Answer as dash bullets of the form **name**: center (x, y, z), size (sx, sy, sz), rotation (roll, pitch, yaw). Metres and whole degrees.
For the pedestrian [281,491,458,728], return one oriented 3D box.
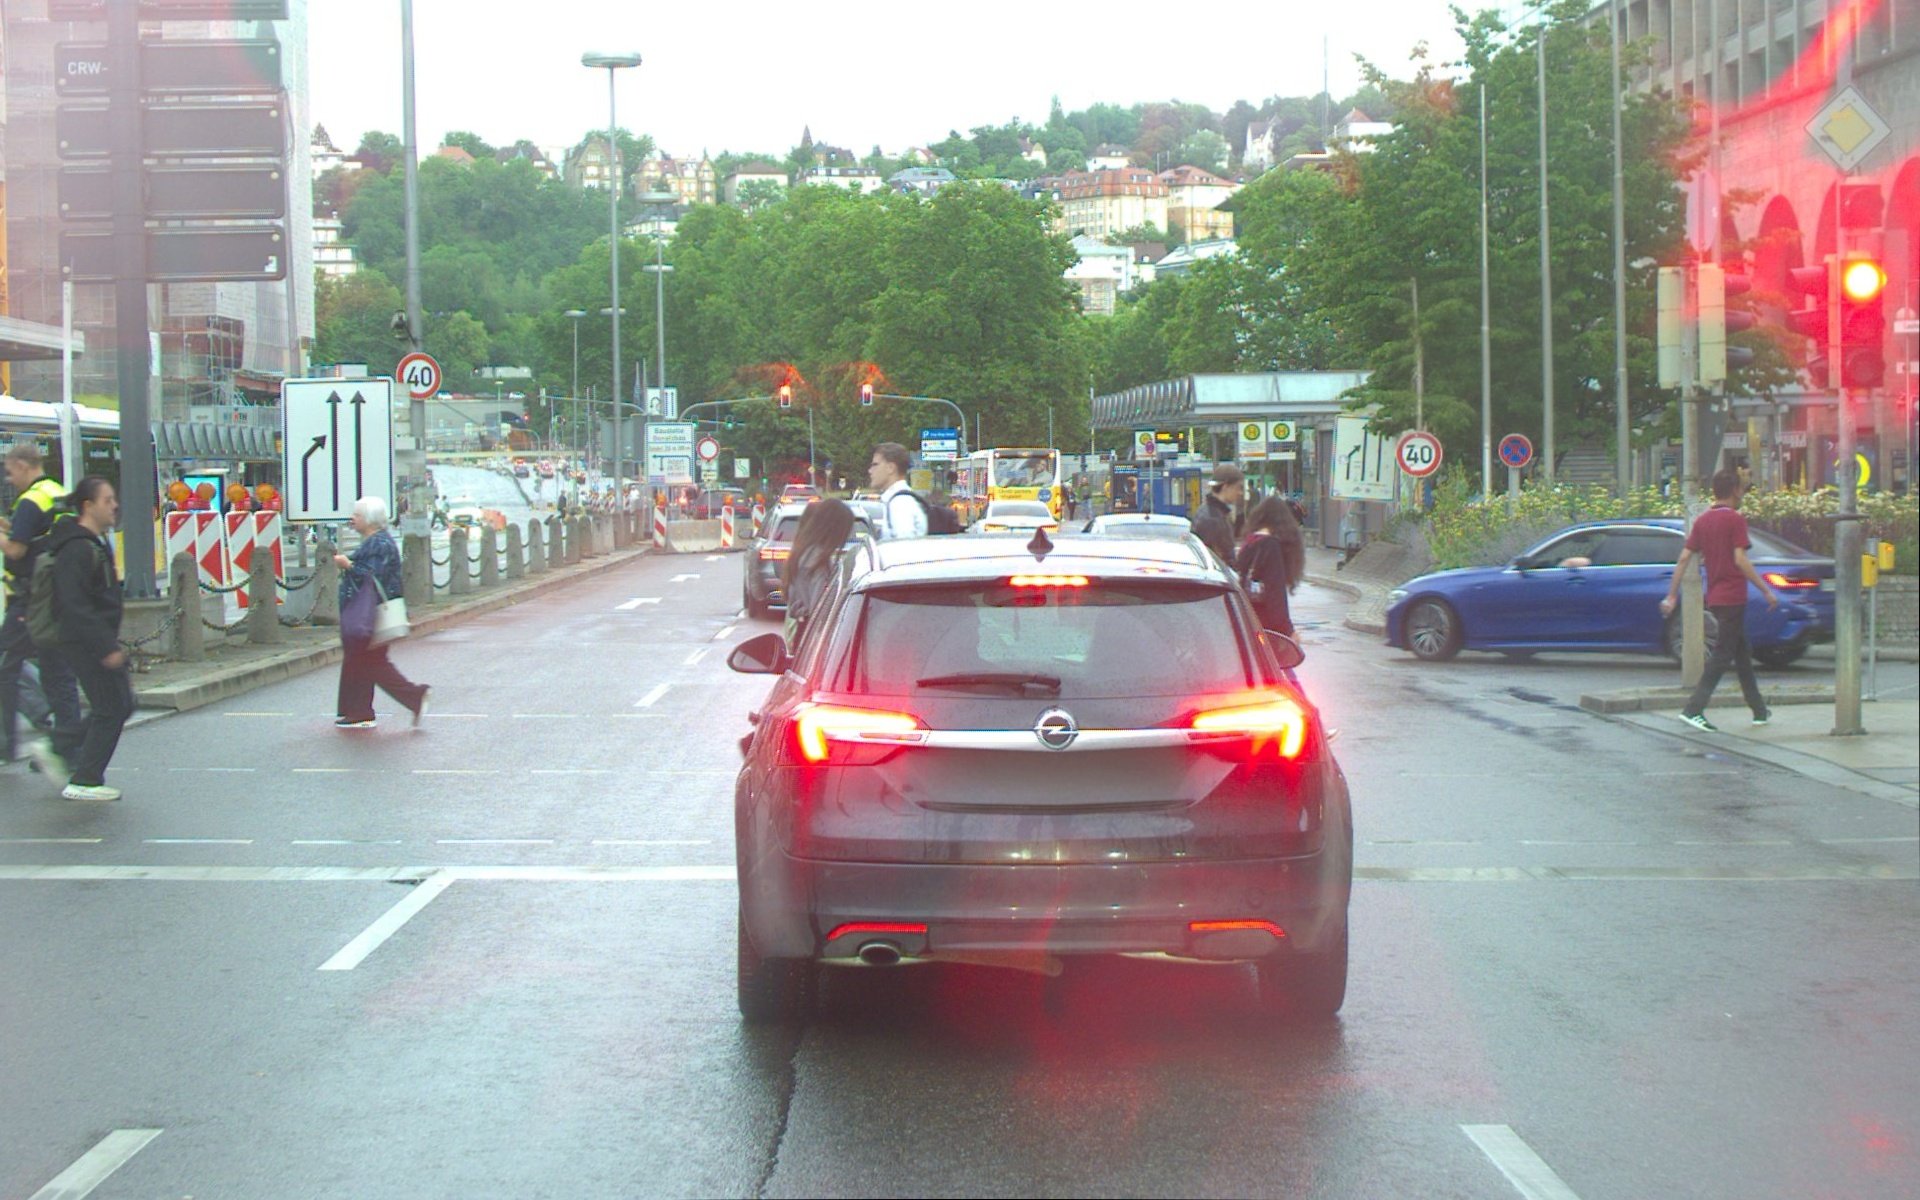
- **pedestrian**: center (-3.980, 0.051, 23.183), size (0.873, 1.555, 0.786), rotation (0, 1, -44)

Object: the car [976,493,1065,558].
- **car**: center (1.311, -1.635, 75.693), size (1.845, 1.393, 3.564), rotation (1, 1, -1)

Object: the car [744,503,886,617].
- **car**: center (-1.877, -0.536, 45.028), size (1.753, 1.393, 4.538), rotation (1, 1, -2)

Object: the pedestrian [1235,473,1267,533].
- **pedestrian**: center (8.255, -2.754, 97.674), size (0.763, 1.684, 0.825), rotation (1, 1, -5)

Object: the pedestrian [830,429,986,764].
- **pedestrian**: center (-0.304, -0.025, 19.713), size (0.798, 1.884, 0.620), rotation (1, 1, -9)

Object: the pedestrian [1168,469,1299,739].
- **pedestrian**: center (1.754, 0.023, 22.087), size (0.755, 1.711, 0.466), rotation (1, 1, -4)

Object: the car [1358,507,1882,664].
- **car**: center (6.294, -0.176, 33.062), size (4.644, 1.393, 1.755), rotation (1, 1, 37)

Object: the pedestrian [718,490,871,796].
- **pedestrian**: center (-0.909, 0.222, 18.717), size (0.793, 1.620, 0.900), rotation (1, 1, -4)

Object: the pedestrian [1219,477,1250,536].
- **pedestrian**: center (7.885, -2.692, 98.822), size (0.763, 1.684, 0.825), rotation (1, 1, -5)

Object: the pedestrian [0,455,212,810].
- **pedestrian**: center (-4.471, 0.160, 17.584), size (1.096, 1.745, 0.654), rotation (-2, 1, -3)

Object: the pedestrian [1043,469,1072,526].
- **pedestrian**: center (4.227, -4.428, 148.655), size (1.199, 2.427, 1.228), rotation (1, 1, 1)

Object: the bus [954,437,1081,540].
- **bus**: center (1.952, -3.915, 124.291), size (4.173, 3.457, 14.655), rotation (1, 1, -1)

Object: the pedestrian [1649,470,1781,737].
- **pedestrian**: center (5.031, 0.013, 22.900), size (0.570, 1.746, 0.679), rotation (1, 1, 42)

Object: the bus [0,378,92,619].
- **bus**: center (-15.683, -1.538, 51.808), size (2.668, 3.589, 10.240), rotation (1, 1, 0)

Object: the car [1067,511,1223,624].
- **car**: center (2.372, -0.445, 45.073), size (1.753, 1.393, 4.402), rotation (1, 1, -1)

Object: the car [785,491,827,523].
- **car**: center (-6.868, -4.141, 153.509), size (1.759, 1.393, 3.564), rotation (1, 1, -1)

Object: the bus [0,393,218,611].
- **bus**: center (-15.792, -1.726, 61.993), size (2.668, 3.589, 10.212), rotation (1, 1, 0)

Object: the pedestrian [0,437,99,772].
- **pedestrian**: center (-5.209, 0.016, 19.222), size (0.578, 1.829, 0.820), rotation (1, 1, 0)

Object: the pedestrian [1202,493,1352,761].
- **pedestrian**: center (1.929, 0.157, 20.984), size (0.799, 1.603, 0.620), rotation (1, 1, -4)

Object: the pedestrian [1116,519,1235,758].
- **pedestrian**: center (1.343, 0.235, 21.464), size (0.678, 1.469, 0.366), rotation (1, 1, -5)

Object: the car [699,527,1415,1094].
- **car**: center (0.221, 0.521, 11.085), size (1.874, 1.481, 4.000), rotation (1, 1, -1)
